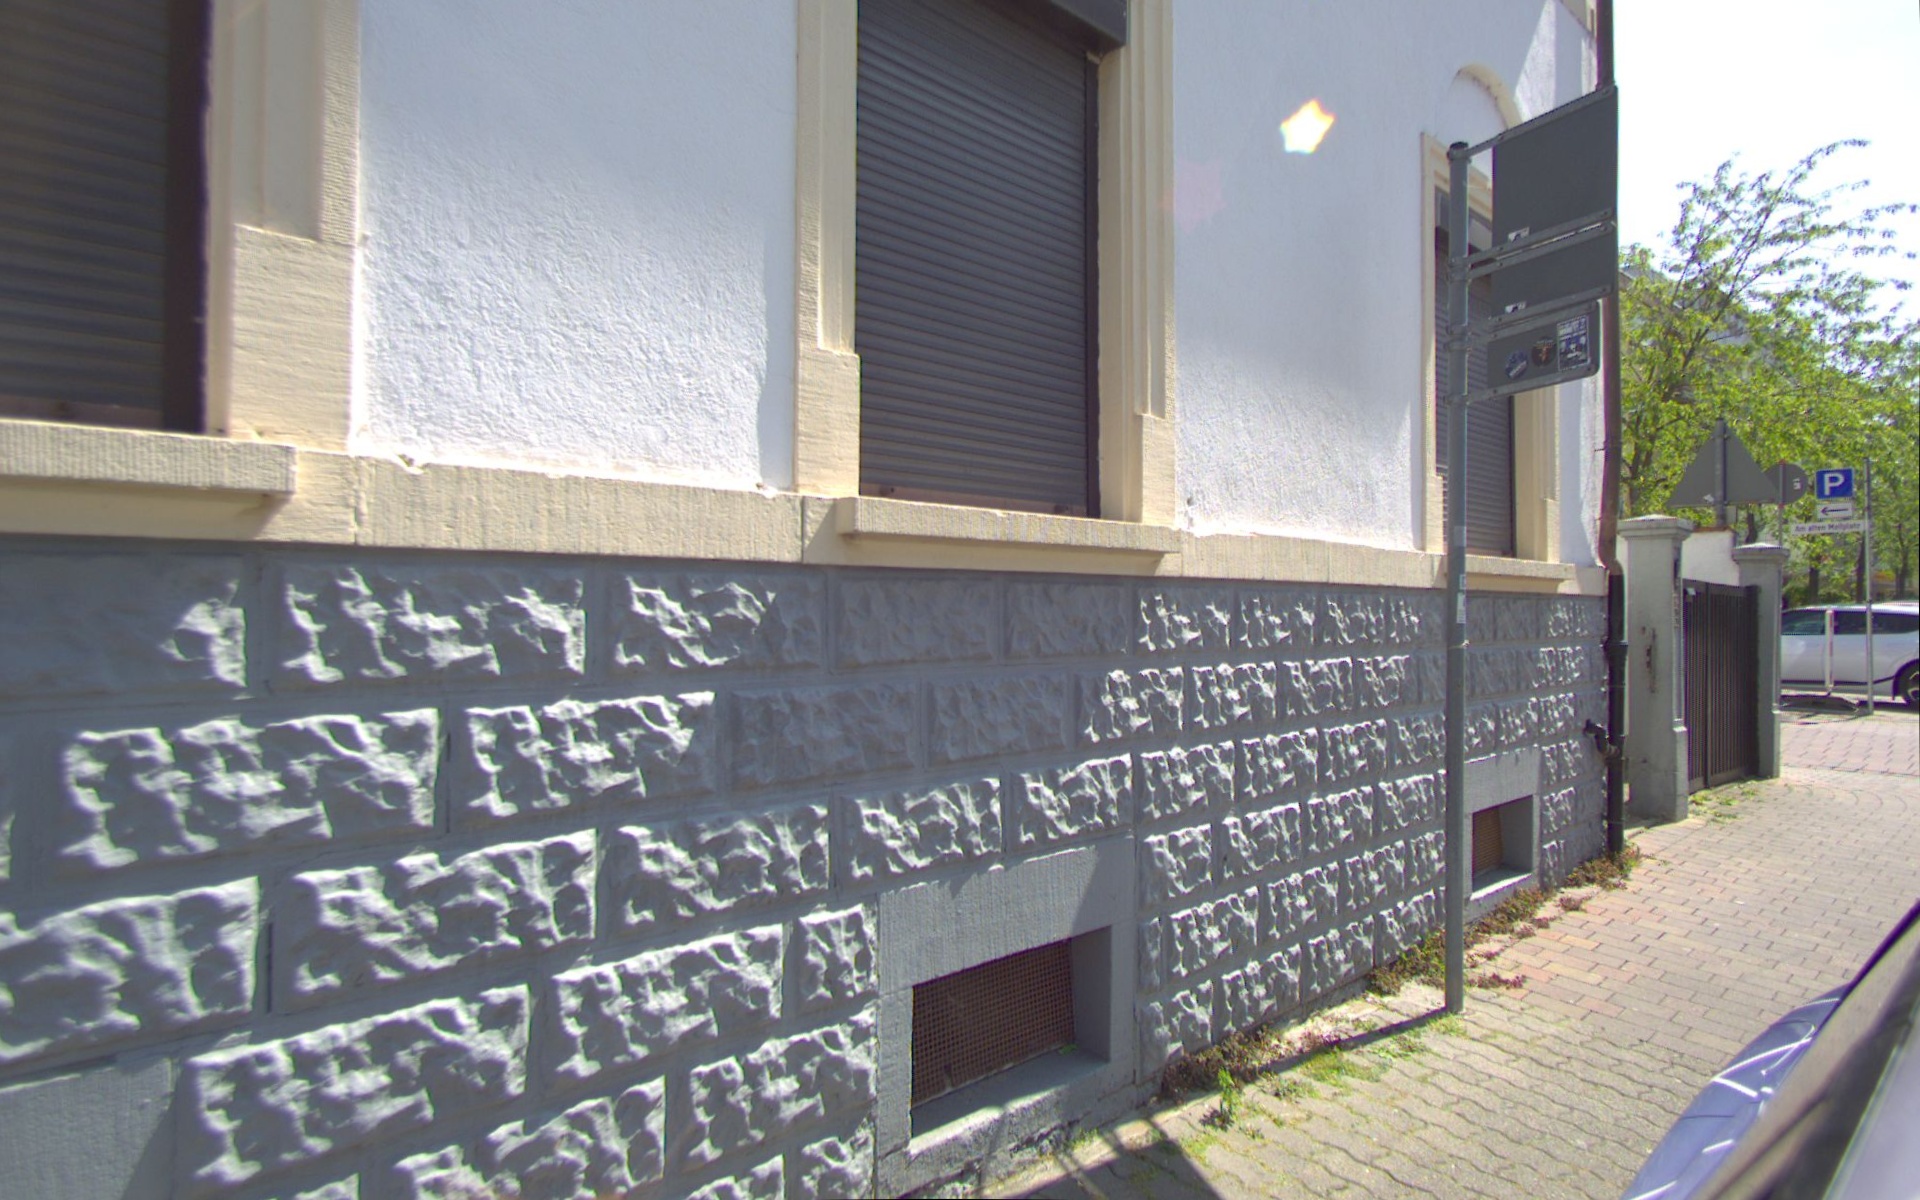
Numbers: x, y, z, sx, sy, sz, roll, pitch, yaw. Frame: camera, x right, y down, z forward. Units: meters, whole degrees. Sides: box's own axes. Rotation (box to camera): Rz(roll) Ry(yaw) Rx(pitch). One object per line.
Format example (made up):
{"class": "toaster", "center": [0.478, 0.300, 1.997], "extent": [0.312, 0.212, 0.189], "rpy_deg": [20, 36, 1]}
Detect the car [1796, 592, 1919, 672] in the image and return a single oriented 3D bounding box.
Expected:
{"class": "car", "center": [21.555, 0.708, 22.544], "extent": [1.966, 1.702, 4.286], "rpy_deg": [1, 0, -41]}

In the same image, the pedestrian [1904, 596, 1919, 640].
{"class": "pedestrian", "center": [38.527, 0.706, 40.610], "extent": [0.635, 1.753, 0.616], "rpy_deg": [-1, -1, -5]}

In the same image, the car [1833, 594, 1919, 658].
{"class": "car", "center": [25.438, 0.698, 25.804], "extent": [1.816, 1.608, 4.521], "rpy_deg": [1, 1, -37]}

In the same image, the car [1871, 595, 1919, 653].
{"class": "car", "center": [28.944, 0.725, 28.984], "extent": [1.651, 1.632, 4.035], "rpy_deg": [0, 1, -40]}

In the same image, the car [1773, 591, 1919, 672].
{"class": "car", "center": [19.471, 0.645, 20.852], "extent": [1.792, 1.553, 3.952], "rpy_deg": [1, 1, -40]}

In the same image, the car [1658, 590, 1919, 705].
{"class": "car", "center": [13.919, 0.696, 15.992], "extent": [1.756, 1.595, 4.451], "rpy_deg": [1, 1, -39]}

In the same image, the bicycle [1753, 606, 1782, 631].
{"class": "bicycle", "center": [35.826, 0.819, 44.874], "extent": [1.833, 1.095, 0.642], "rpy_deg": [0, -2, -40]}
